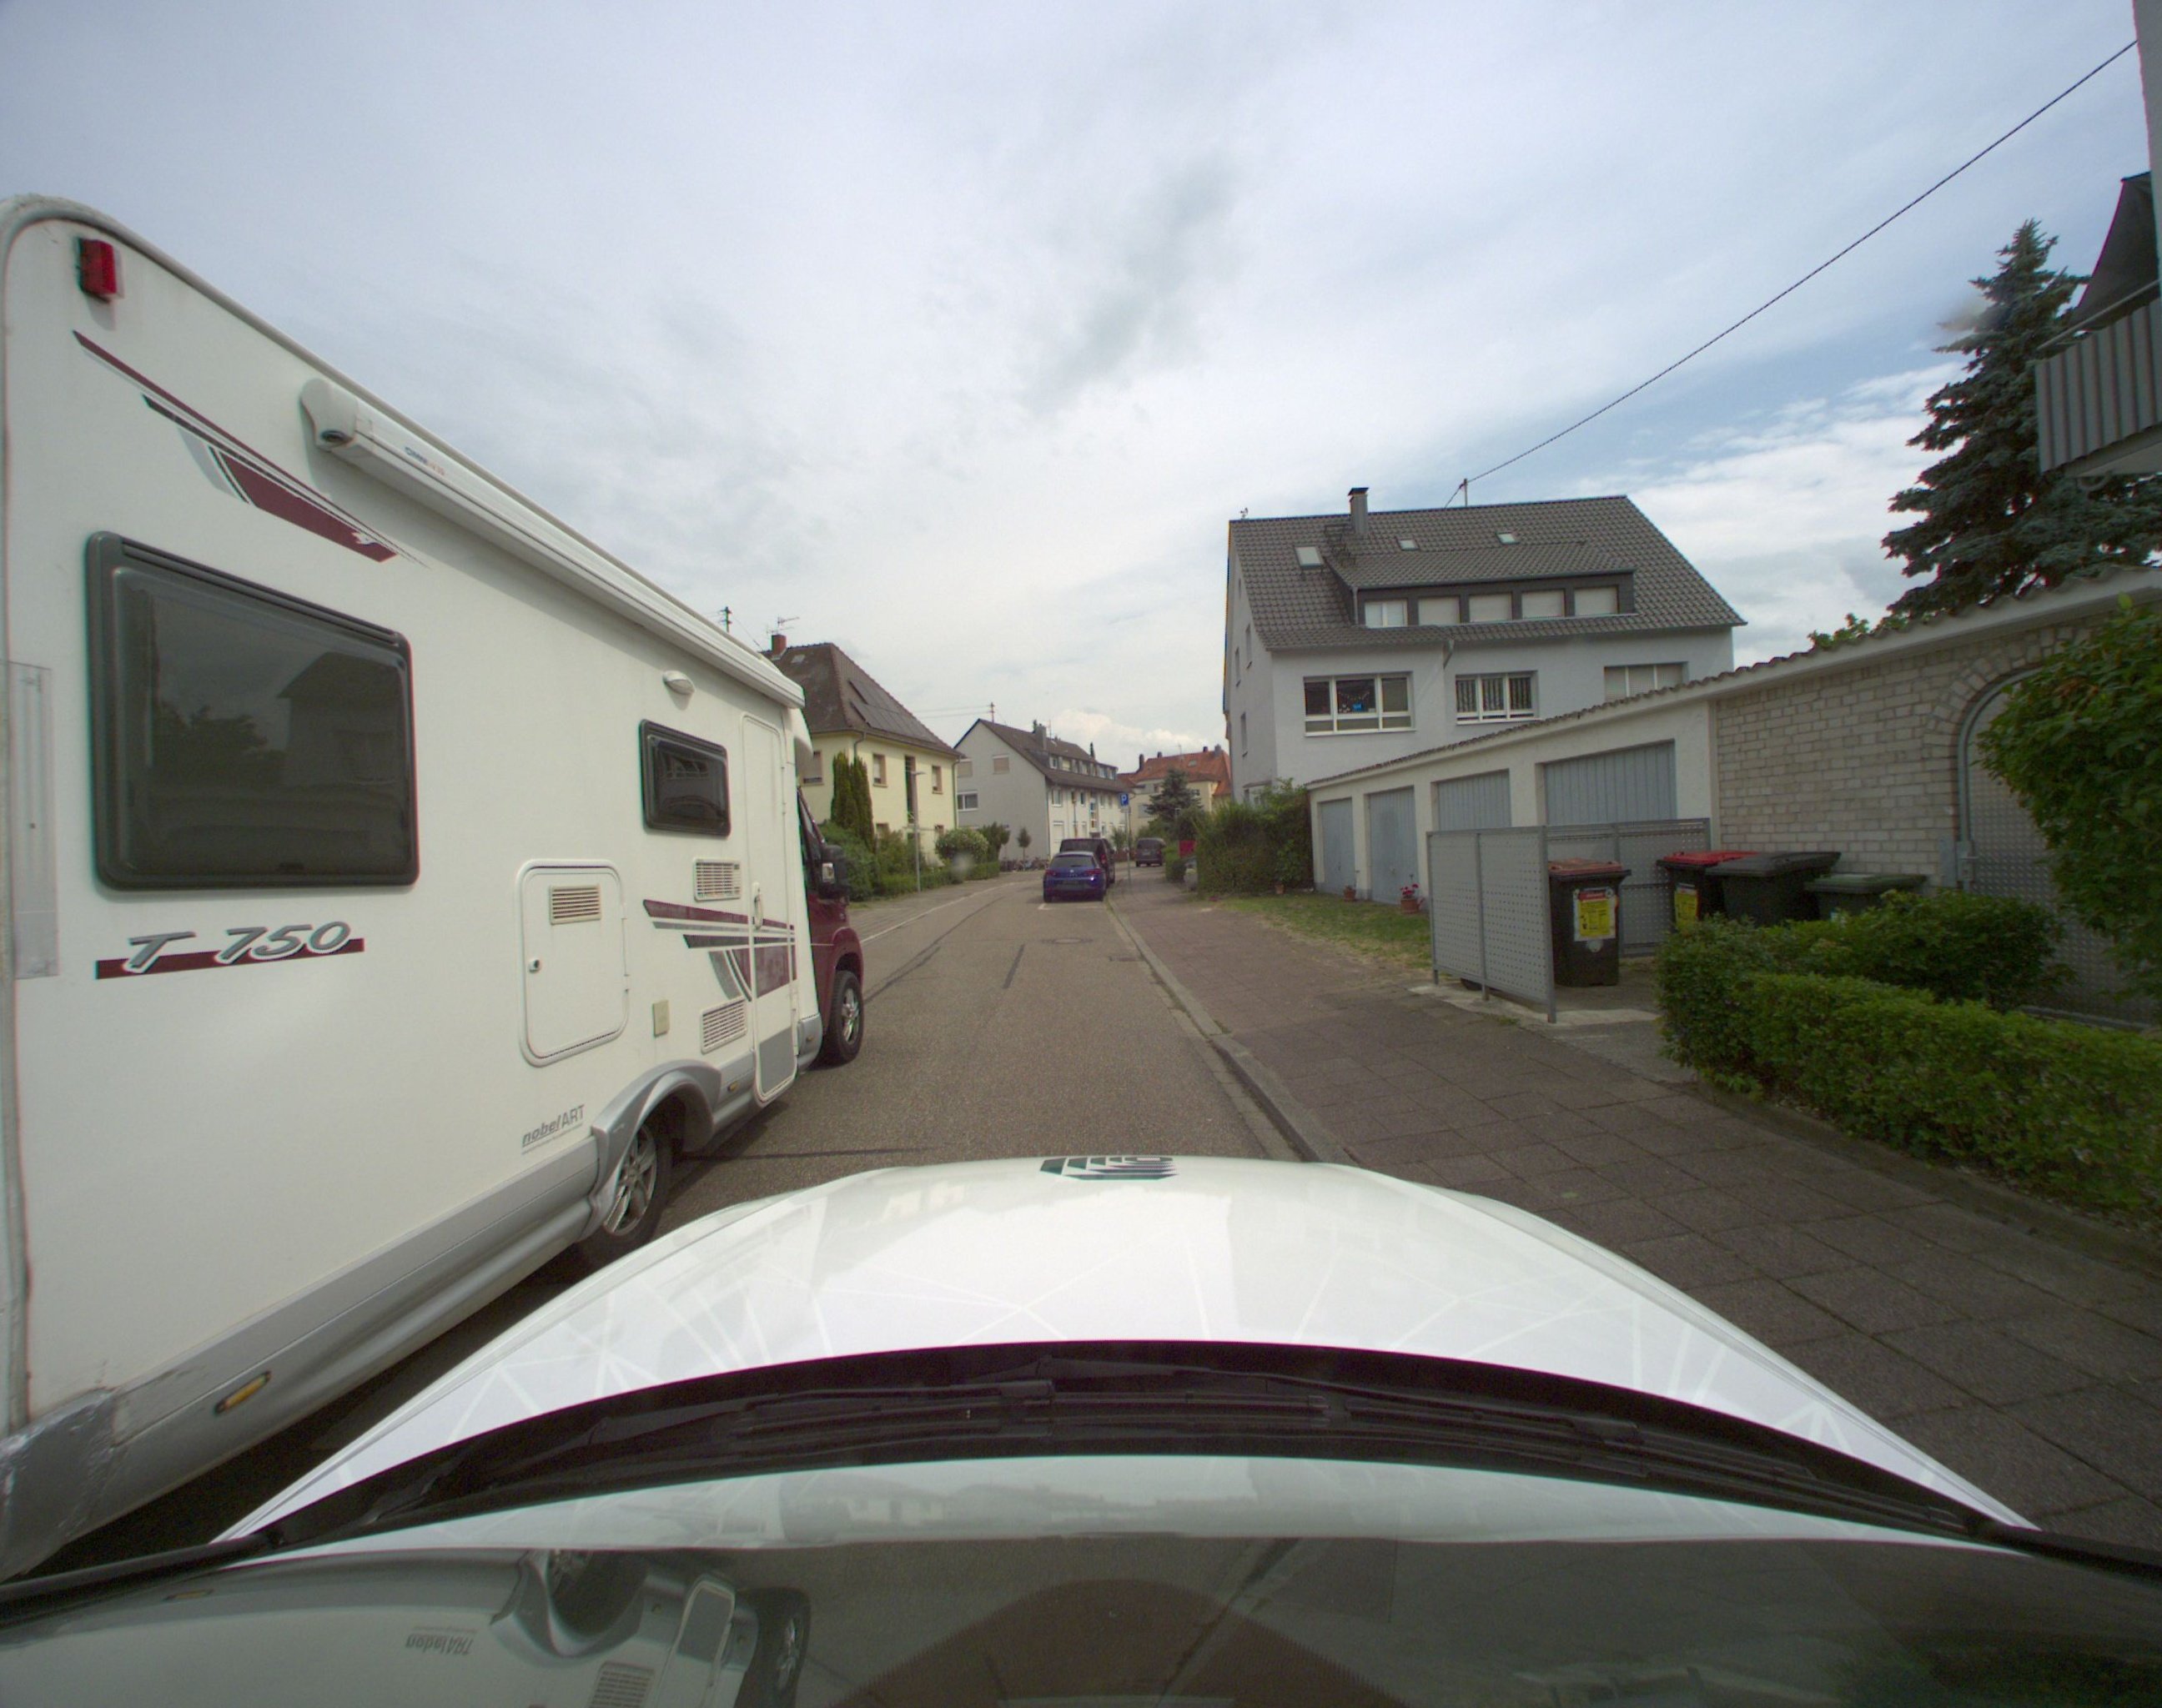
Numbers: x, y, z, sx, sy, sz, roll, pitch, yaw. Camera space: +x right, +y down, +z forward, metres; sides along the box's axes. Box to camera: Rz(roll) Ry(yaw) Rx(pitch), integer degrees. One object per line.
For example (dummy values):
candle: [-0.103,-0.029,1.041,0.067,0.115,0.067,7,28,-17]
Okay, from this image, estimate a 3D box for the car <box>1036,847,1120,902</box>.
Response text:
car: [0.004,0.605,24.637,1.712,1.452,4.012,-3,-1,11]

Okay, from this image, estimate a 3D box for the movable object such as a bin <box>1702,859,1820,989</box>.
movable object such as a bin: [5.402,0.544,6.493,0.452,0.973,0.507,-3,-2,-1]

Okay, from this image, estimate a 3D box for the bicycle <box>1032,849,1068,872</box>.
bicycle: [-2.140,0.440,56.604,2.356,1.460,0.714,-2,-2,-24]

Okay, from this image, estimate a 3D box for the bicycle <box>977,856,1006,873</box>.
bicycle: [-6.094,0.693,55.457,1.836,1.079,0.668,-3,-2,-14]

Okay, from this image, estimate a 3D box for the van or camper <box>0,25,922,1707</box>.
van or camper: [-2.729,0.187,3.941,2.395,2.725,6.164,-3,-1,2]

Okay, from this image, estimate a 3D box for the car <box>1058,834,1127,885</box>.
car: [0.529,0.230,31.576,1.842,1.742,4.358,-3,-1,11]

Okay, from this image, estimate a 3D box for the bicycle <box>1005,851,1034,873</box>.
bicycle: [-4.190,0.553,55.655,1.836,1.373,0.668,-3,-2,-14]

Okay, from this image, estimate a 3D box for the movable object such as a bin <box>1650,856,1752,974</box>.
movable object such as a bin: [5.438,0.523,7.165,0.452,0.973,0.507,-3,-2,-1]

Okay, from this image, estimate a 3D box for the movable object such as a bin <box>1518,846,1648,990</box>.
movable object such as a bin: [4.269,0.528,6.977,0.578,1.137,0.754,-3,-2,-1]

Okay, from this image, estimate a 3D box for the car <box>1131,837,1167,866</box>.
car: [4.495,-0.105,53.200,1.842,1.742,4.358,-3,-1,11]
